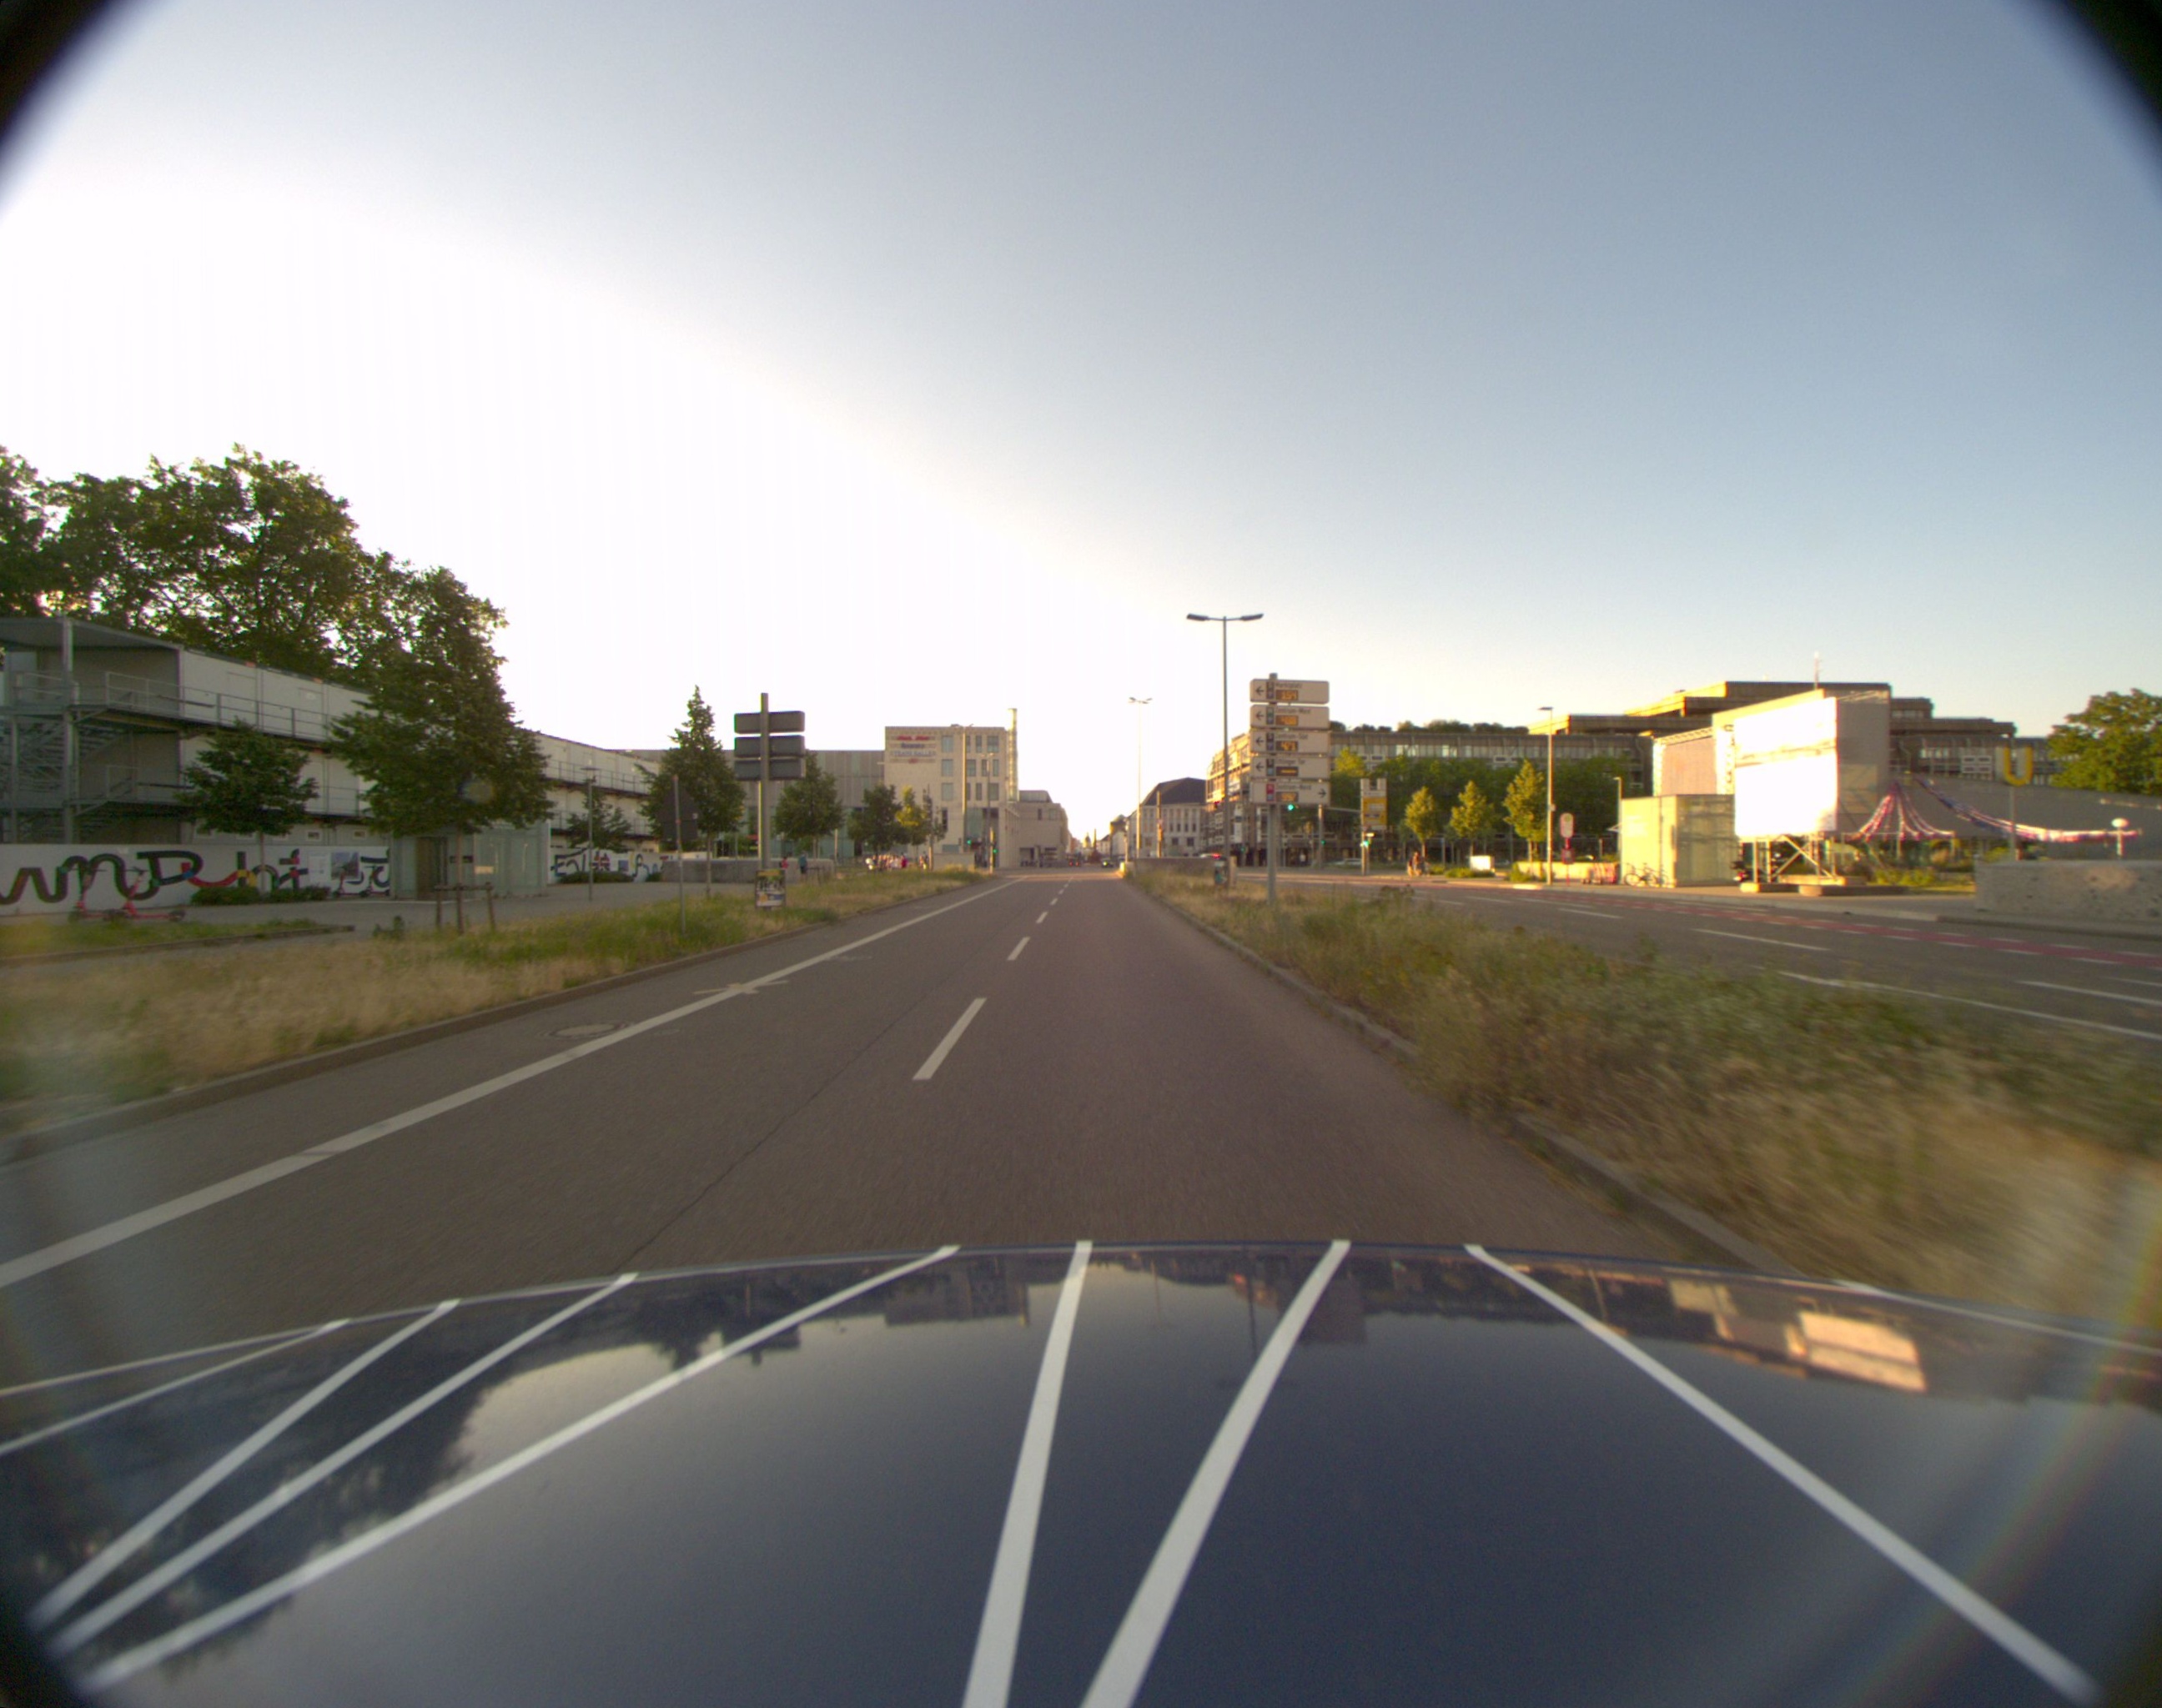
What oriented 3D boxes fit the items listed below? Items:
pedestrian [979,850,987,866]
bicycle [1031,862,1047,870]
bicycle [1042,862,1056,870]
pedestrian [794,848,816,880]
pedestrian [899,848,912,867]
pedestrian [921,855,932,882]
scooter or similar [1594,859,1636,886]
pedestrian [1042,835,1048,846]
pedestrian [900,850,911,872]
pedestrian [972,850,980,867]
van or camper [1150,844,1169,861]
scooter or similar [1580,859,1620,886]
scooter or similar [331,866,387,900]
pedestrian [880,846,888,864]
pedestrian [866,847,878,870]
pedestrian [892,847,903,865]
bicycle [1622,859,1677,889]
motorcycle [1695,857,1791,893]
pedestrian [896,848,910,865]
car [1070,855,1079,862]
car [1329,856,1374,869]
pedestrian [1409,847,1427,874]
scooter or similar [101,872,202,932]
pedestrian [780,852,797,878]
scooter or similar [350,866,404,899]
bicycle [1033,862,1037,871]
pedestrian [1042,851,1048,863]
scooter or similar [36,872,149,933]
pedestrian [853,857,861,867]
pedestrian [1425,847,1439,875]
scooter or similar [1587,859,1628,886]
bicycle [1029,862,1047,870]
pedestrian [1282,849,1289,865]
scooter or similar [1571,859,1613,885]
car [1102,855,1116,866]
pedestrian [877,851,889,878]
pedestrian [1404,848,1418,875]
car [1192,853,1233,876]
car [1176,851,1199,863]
[{"bbox_3d":[-10.183,0.383,78.803,0.644,1.650,0.871,0,1,2],"label":"pedestrian"},{"bbox_3d":[-7.006,1.987,126.742,2.507,1.316,0.619,0,1,0],"label":"bicycle"},{"bbox_3d":[-5.515,2.092,131.445,2.507,1.316,0.619,0,1,0],"label":"bicycle"},{"bbox_3d":[-15.915,0.593,43.881,0.816,1.804,1.047,0,0,6],"label":"pedestrian"},{"bbox_3d":[-18.234,0.353,78.876,0.892,1.843,1.007,3,2,12],"label":"pedestrian"},{"bbox_3d":[-11.090,1.009,54.506,0.644,1.922,0.619,0,1,0],"label":"pedestrian"},{"bbox_3d":[26.003,0.912,37.035,1.841,1.297,0.423,0,1,-6],"label":"scooter or similar"},{"bbox_3d":[-5.384,-1.999,112.988,0.764,1.696,0.834,0,0,1],"label":"pedestrian"},{"bbox_3d":[-13.473,0.510,58.421,0.644,1.703,0.871,0,1,0],"label":"pedestrian"},{"bbox_3d":[-10.909,0.436,78.745,0.644,1.720,0.871,0,1,2],"label":"pedestrian"},{"bbox_3d":[12.919,-0.218,125.127,2.233,2.650,6.162,0,-1,-3],"label":"van or camper"},{"bbox_3d":[25.937,0.923,37.959,1.793,1.297,0.417,0,1,-6],"label":"scooter or similar"},{"bbox_3d":[-27.121,1.093,28.541,1.573,1.213,0.474,-2,1,-2],"label":"scooter or similar"},{"bbox_3d":[-20.050,0.115,77.323,0.604,1.843,0.586,0,1,4],"label":"pedestrian"},{"bbox_3d":[-15.192,0.340,55.277,0.644,1.702,0.762,0,0,-3],"label":"pedestrian"},{"bbox_3d":[-19.168,0.214,79.238,0.896,1.843,0.724,1,2,-33],"label":"pedestrian"},{"bbox_3d":[26.169,0.880,35.033,0.619,1.316,2.509,0,0,-1],"label":"bicycle"},{"bbox_3d":[26.955,0.844,30.962,3.241,1.375,0.840,-2,1,-2],"label":"motorcycle"},{"bbox_3d":[-18.193,0.218,77.772,0.868,1.714,1.009,3,2,26],"label":"pedestrian"},{"bbox_3d":[-1.680,1.110,190.228,2.071,1.641,4.001,0,-1,1],"label":"car"},{"bbox_3d":[35.800,1.127,100.686,5.160,1.575,2.000,0,0,0],"label":"car"},{"bbox_3d":[23.382,0.434,52.757,0.874,1.826,0.775,0,1,1],"label":"pedestrian"},{"bbox_3d":[-20.205,1.014,16.552,0.424,1.213,1.398,2,0,1],"label":"scooter or similar"},{"bbox_3d":[-16.813,0.656,43.710,0.762,1.481,0.644,0,-1,-1],"label":"pedestrian"},{"bbox_3d":[-27.188,1.079,29.357,1.573,1.213,0.474,-2,1,-2],"label":"scooter or similar"},{"bbox_3d":[-7.229,1.952,119.486,0.619,1.316,2.509,0,0,-1],"label":"bicycle"},{"bbox_3d":[-5.246,0.477,111.284,0.764,1.696,0.834,0,0,-2],"label":"pedestrian"},{"bbox_3d":[-21.377,1.027,16.476,0.474,1.213,1.573,2,0,-6],"label":"scooter or similar"},{"bbox_3d":[-22.483,0.806,76.211,0.650,0.957,0.654,0,1,-5],"label":"pedestrian"},{"bbox_3d":[24.366,0.488,52.769,0.661,1.922,0.648,0,0,2],"label":"pedestrian"},{"bbox_3d":[25.967,0.918,37.476,1.836,1.297,0.423,0,1,-6],"label":"scooter or similar"},{"bbox_3d":[-6.830,1.943,121.665,2.804,1.208,0.765,0,-1,10],"label":"bicycle"},{"bbox_3d":[24.444,0.341,90.923,0.644,1.920,0.681,0,1,-3],"label":"pedestrian"},{"bbox_3d":[25.867,0.915,38.464,1.864,1.297,0.500,0,1,-6],"label":"scooter or similar"},{"bbox_3d":[4.444,1.035,120.548,2.071,1.641,3.999,0,1,1],"label":"car"},{"bbox_3d":[-13.894,0.741,53.304,0.644,1.922,0.619,0,1,2],"label":"pedestrian"},{"bbox_3d":[23.401,0.535,53.842,0.633,1.922,0.775,0,1,-2],"label":"pedestrian"},{"bbox_3d":[8.522,0.666,49.576,1.891,1.457,4.537,0,0,-1],"label":"car"},{"bbox_3d":[13.766,0.352,98.138,1.641,1.518,3.995,0,1,-12],"label":"car"}]
